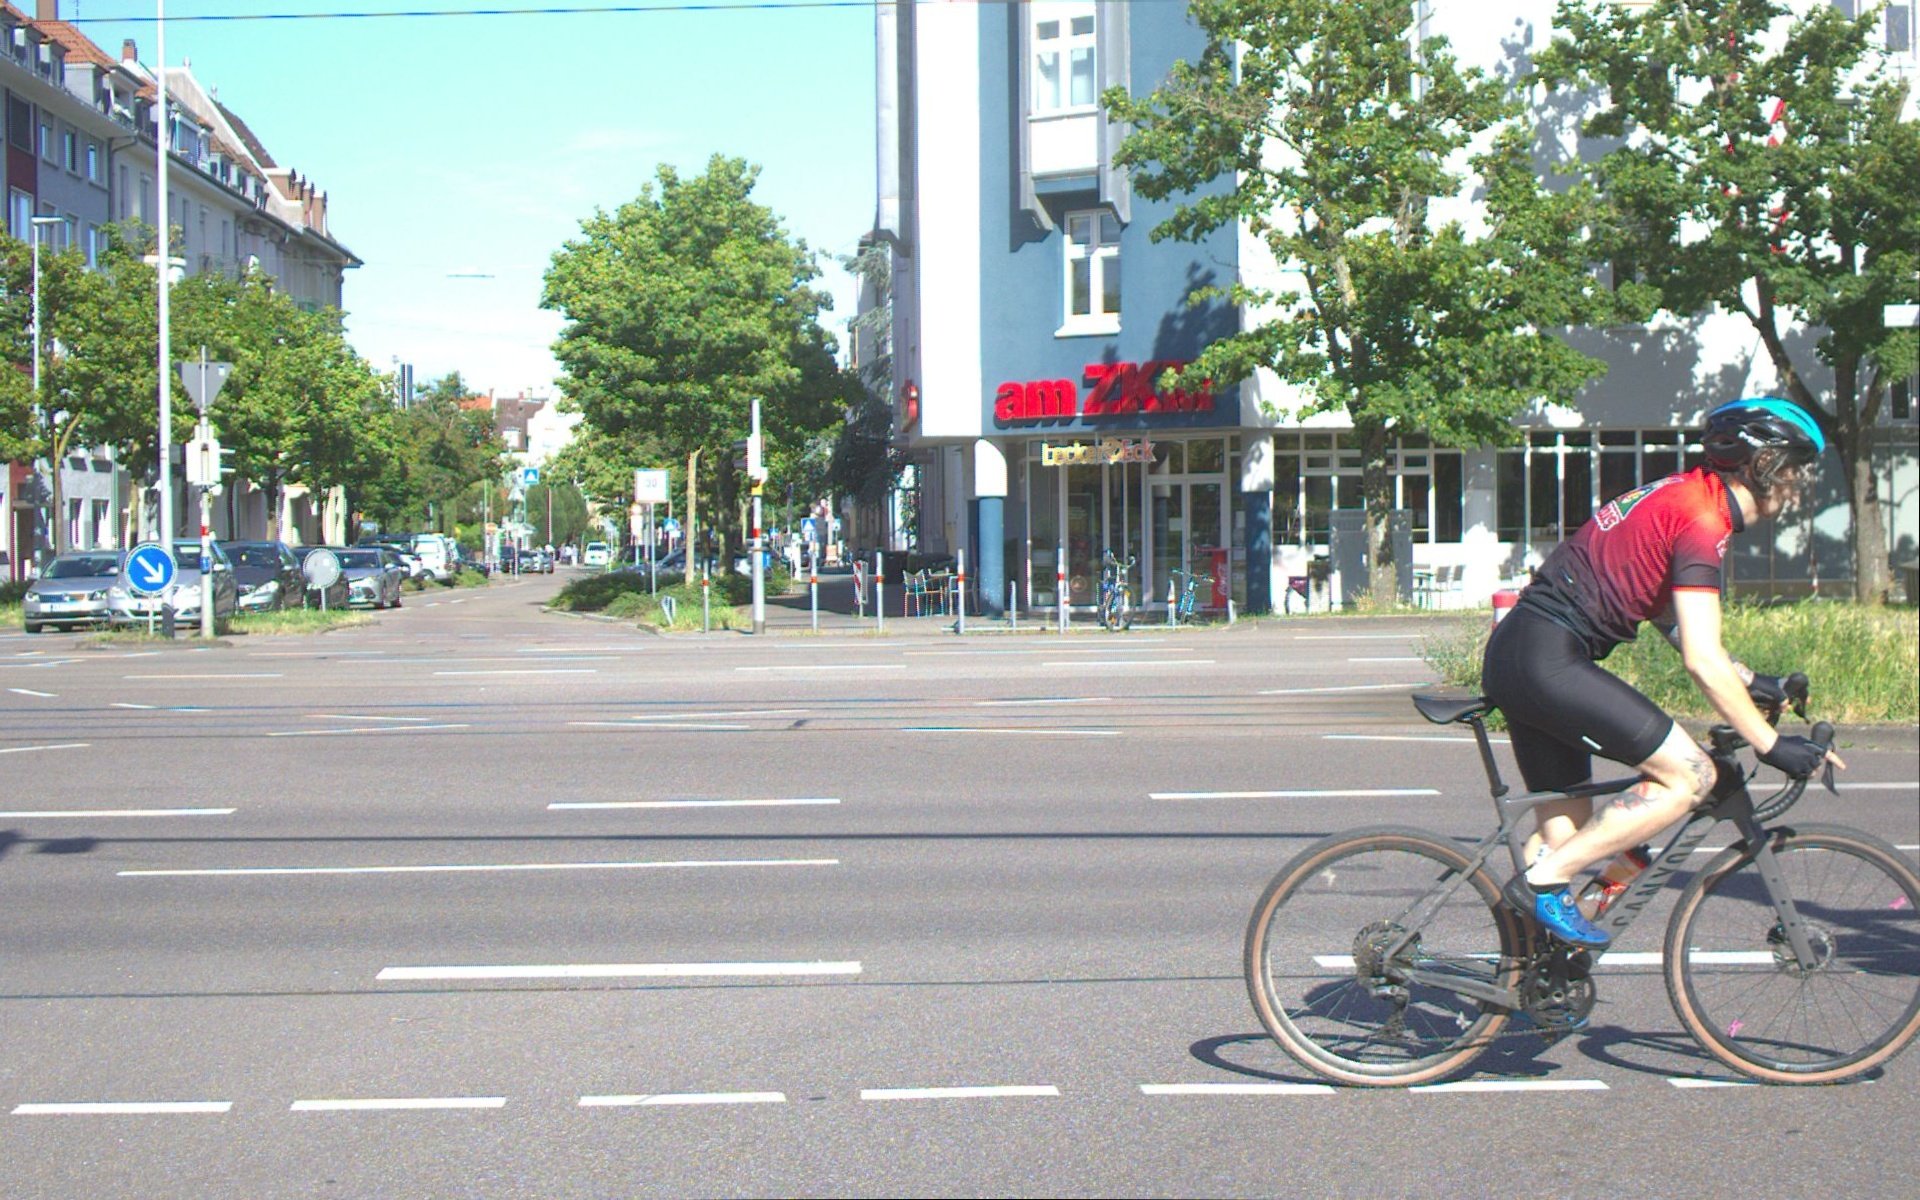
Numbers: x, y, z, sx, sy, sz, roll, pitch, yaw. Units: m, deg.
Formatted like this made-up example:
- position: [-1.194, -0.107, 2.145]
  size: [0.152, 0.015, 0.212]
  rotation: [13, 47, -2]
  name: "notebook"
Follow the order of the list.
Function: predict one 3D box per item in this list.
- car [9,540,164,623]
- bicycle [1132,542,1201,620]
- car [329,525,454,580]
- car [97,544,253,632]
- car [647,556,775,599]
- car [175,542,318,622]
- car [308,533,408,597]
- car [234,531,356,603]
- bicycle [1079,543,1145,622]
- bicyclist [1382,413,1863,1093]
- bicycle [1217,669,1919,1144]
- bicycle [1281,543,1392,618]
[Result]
- position: [-15.978, -0.354, 63.101]
  size: [1.688, 1.427, 4.400]
  rotation: [2, 1, 0]
  name: "car"
- position: [2.774, -0.267, 46.301]
  size: [0.471, 1.024, 1.517]
  rotation: [-1, 1, -14]
  name: "bicycle"
- position: [-21.355, -1.774, 129.233]
  size: [4.504, 2.007, 2.000]
  rotation: [0, 0, -5]
  name: "car"
- position: [-13.641, -0.224, 59.936]
  size: [1.688, 1.427, 4.400]
  rotation: [2, 1, 0]
  name: "car"
- position: [-7.179, -0.640, 98.843]
  size: [3.566, 1.219, 1.731]
  rotation: [0, 0, -7]
  name: "car"
- position: [-13.726, -0.360, 66.388]
  size: [1.688, 1.427, 4.400]
  rotation: [2, 1, 2]
  name: "car"
- position: [-14.261, -0.842, 81.619]
  size: [1.688, 1.427, 4.400]
  rotation: [2, 1, -2]
  name: "car"
- position: [-13.987, -0.702, 72.512]
  size: [1.688, 1.427, 4.400]
  rotation: [2, 1, 0]
  name: "car"
- position: [2.021, -0.239, 45.758]
  size: [0.471, 1.024, 1.517]
  rotation: [-1, 1, -13]
  name: "bicycle"
- position: [1.602, 0.353, 8.426]
  size: [1.001, 1.580, 0.673]
  rotation: [-1, 1, -3]
  name: "bicyclist"
- position: [1.581, 0.725, 8.429]
  size: [1.805, 1.051, 0.673]
  rotation: [-1, 1, -3]
  name: "bicycle"
- position: [5.276, -0.269, 48.120]
  size: [1.512, 1.024, 0.473]
  rotation: [-1, 1, 9]
  name: "bicycle"
